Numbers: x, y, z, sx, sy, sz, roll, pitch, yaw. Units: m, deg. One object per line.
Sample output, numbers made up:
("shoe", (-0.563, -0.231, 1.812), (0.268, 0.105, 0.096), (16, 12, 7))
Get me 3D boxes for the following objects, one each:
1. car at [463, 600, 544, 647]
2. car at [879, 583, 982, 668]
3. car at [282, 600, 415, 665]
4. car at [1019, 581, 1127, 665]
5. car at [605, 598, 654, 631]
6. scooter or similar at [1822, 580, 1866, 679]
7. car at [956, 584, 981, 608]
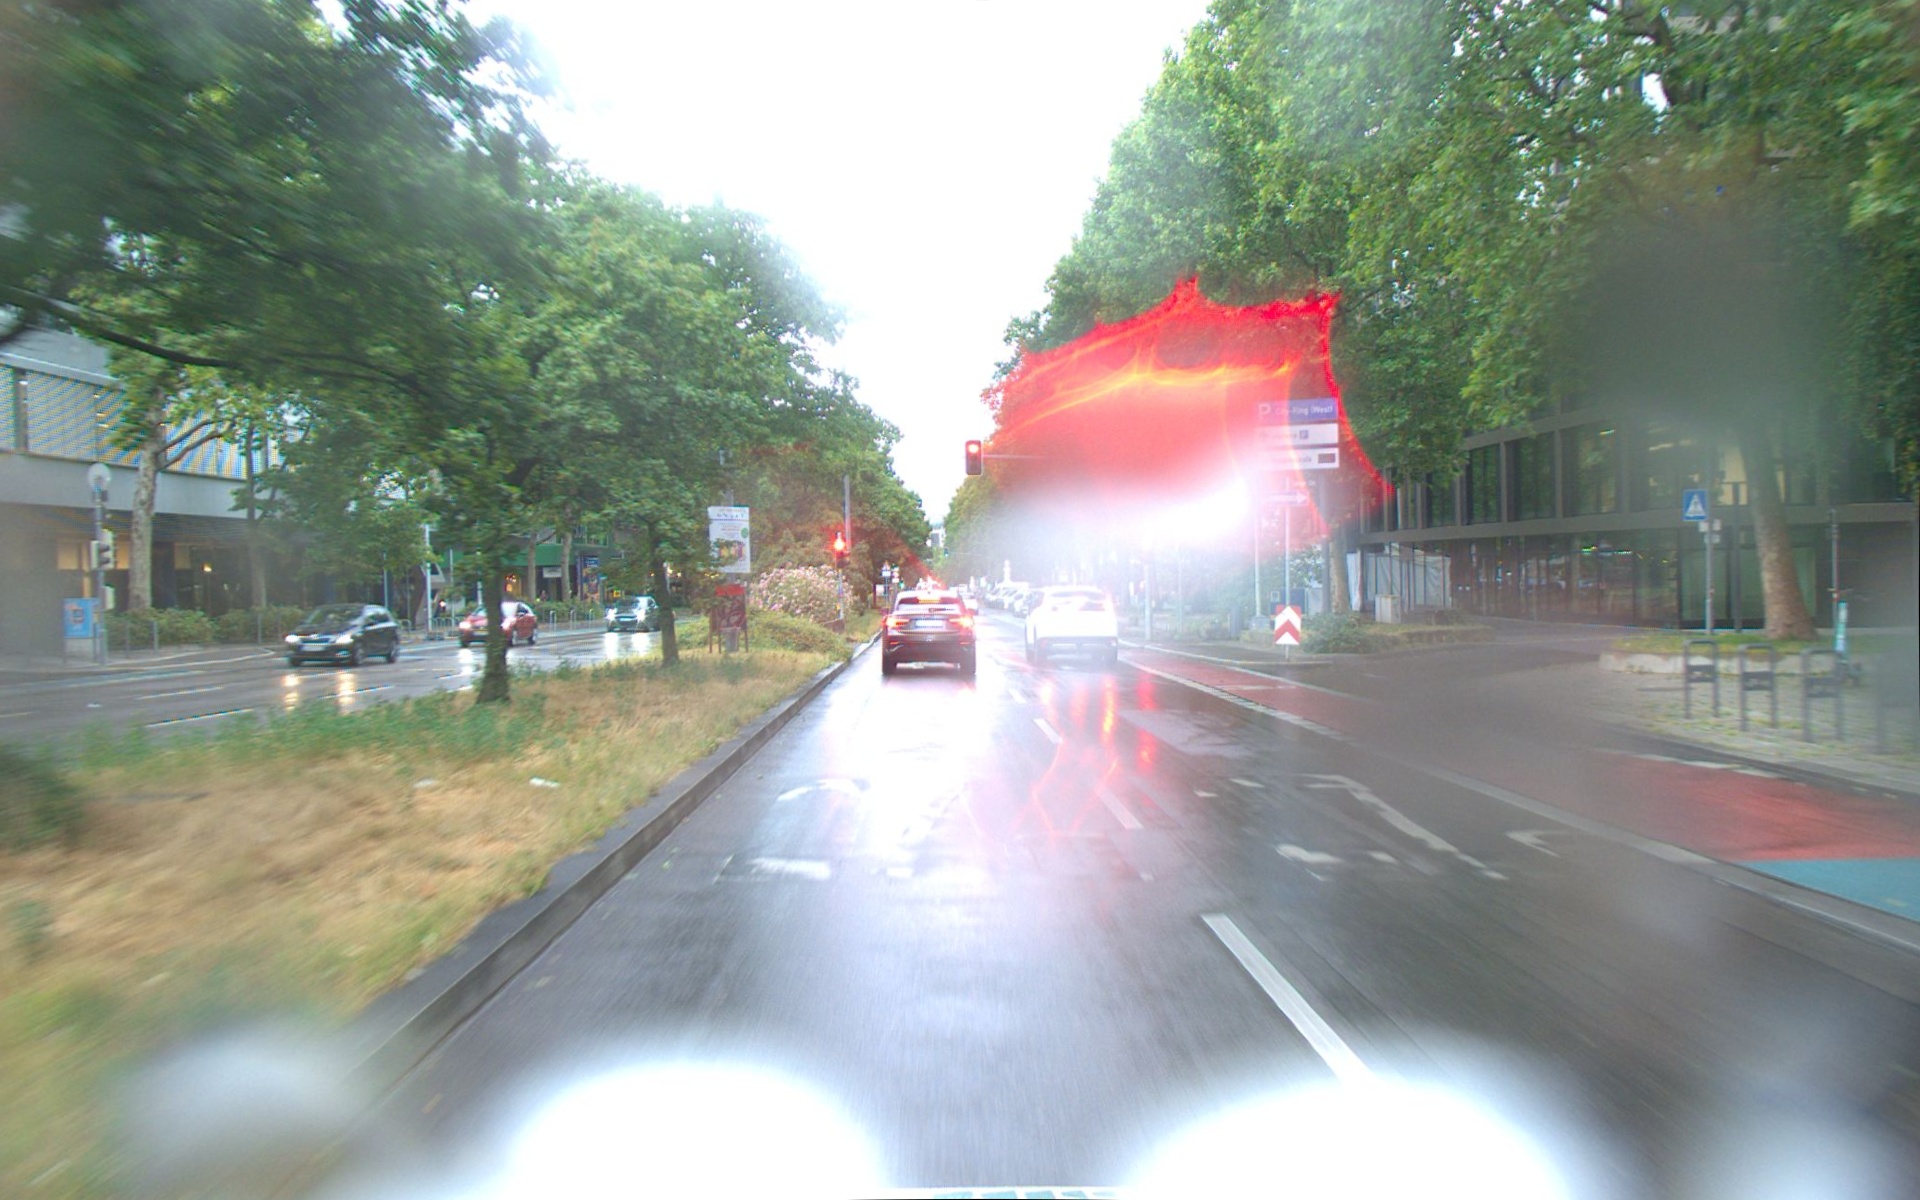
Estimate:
("car", (-15.104, 0.745, 54.889), (1.582, 1.418, 4.183), (-1, 1, -2))
("car", (-0.598, 0.453, 32.579), (1.880, 1.517, 3.999), (-1, 1, -2))
("car", (-14.778, 0.744, 40.215), (1.806, 1.413, 3.999), (-1, 1, -2))
("car", (2.451, 0.447, 36.994), (1.953, 1.684, 4.887), (-1, 1, -2))
("car", (-15.221, 0.660, 76.367), (1.582, 1.418, 3.596), (-1, 1, -2))
("scooter or similar", (11.490, 0.371, 21.492), (0.374, 1.249, 1.075), (-1, 1, 34))
("car", (0.607, -0.309, 120.209), (1.588, 1.695, 3.999), (-2, 1, -1))
